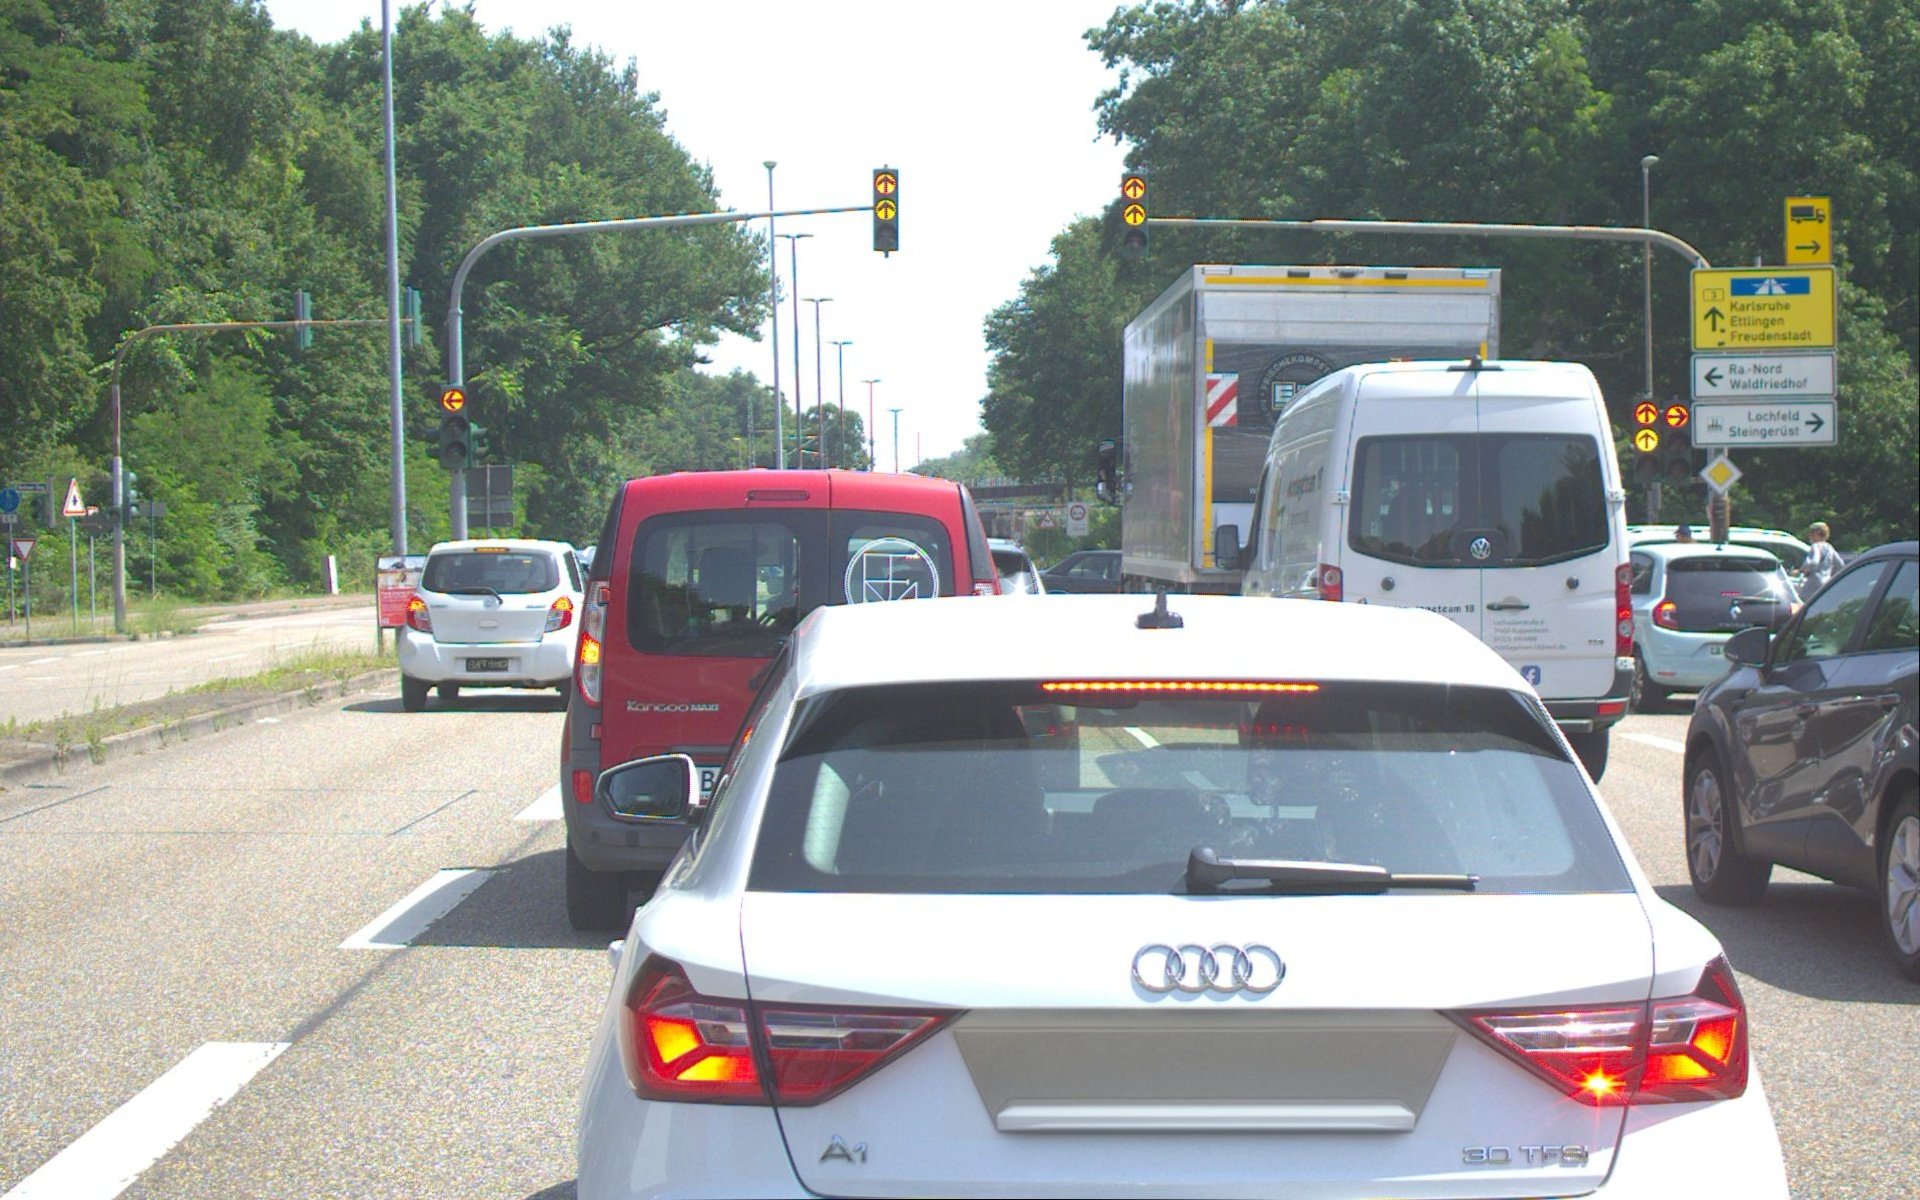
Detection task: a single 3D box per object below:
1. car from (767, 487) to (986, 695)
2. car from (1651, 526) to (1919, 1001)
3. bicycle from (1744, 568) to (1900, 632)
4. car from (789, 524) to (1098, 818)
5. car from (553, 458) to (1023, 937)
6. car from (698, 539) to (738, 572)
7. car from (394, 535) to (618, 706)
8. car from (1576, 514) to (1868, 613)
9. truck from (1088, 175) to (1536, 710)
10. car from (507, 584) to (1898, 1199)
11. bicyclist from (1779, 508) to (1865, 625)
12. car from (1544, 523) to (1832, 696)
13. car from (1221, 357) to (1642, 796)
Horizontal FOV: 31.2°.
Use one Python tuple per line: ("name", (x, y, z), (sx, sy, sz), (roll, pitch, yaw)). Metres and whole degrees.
("car", (-0.739, -0.110, 28.927), (1.711, 1.626, 4.092), (0, 1, -2))
("car", (3.996, 0.517, 13.181), (1.711, 1.587, 4.092), (0, 1, -2))
("bicycle", (10.713, -0.002, 42.772), (1.826, 0.763, 0.599), (0, 1, 45))
("car", (-0.174, 0.355, 21.115), (1.711, 1.626, 4.092), (0, 1, -2))
("car", (-0.711, 0.318, 14.597), (1.711, 1.742, 4.092), (0, 1, -2))
("car", (-13.191, -2.437, 187.550), (1.993, 1.766, 4.205), (-1, 1, -2))
("car", (-4.175, 0.142, 32.121), (1.711, 1.487, 4.092), (0, 1, -2))
("car", (12.720, -0.618, 57.574), (4.471, 1.525, 1.798), (-1, 1, 0))
("truck", (3.145, -1.413, 34.375), (3.088, 4.418, 11.581), (0, 1, -1))
("car", (0.218, 0.690, 6.266), (1.711, 1.381, 4.092), (0, 1, -2))
("bicyclist", (10.716, -0.412, 42.751), (0.598, 1.434, 0.828), (-2, 1, -45))
("car", (6.826, 0.049, 32.654), (1.711, 1.541, 4.092), (0, 1, -2))
("car", (3.016, -0.187, 23.079), (2.031, 2.635, 4.846), (0, 1, -2))
